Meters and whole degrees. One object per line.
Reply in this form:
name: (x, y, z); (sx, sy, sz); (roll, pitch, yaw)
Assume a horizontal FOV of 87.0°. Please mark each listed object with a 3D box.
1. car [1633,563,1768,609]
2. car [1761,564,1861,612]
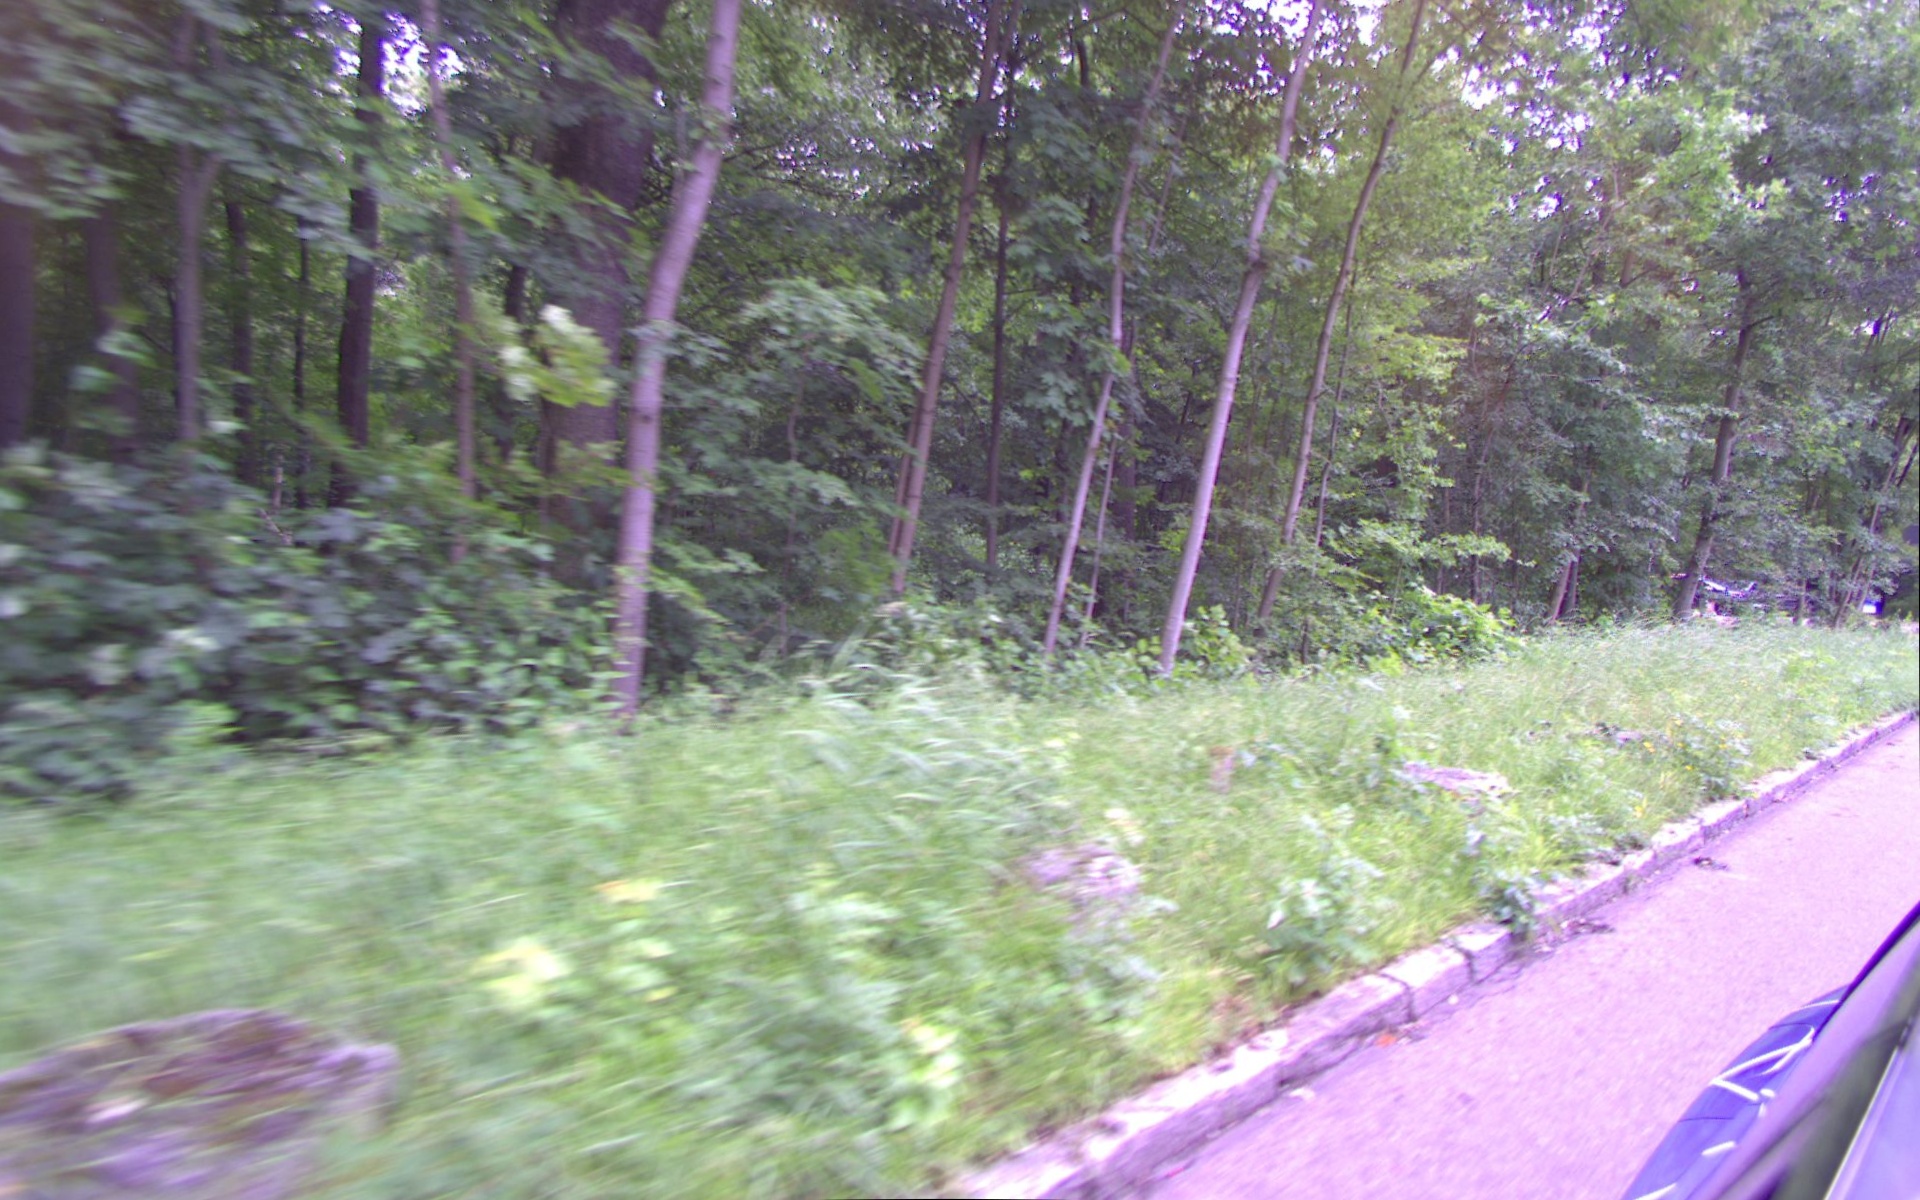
car: (30.835, -0.632, 42.250); (1.779, 1.652, 4.107); (-1, 4, -29)
car: (38.949, -0.538, 46.321); (4.425, 2.002, 1.894); (1, 3, -28)
